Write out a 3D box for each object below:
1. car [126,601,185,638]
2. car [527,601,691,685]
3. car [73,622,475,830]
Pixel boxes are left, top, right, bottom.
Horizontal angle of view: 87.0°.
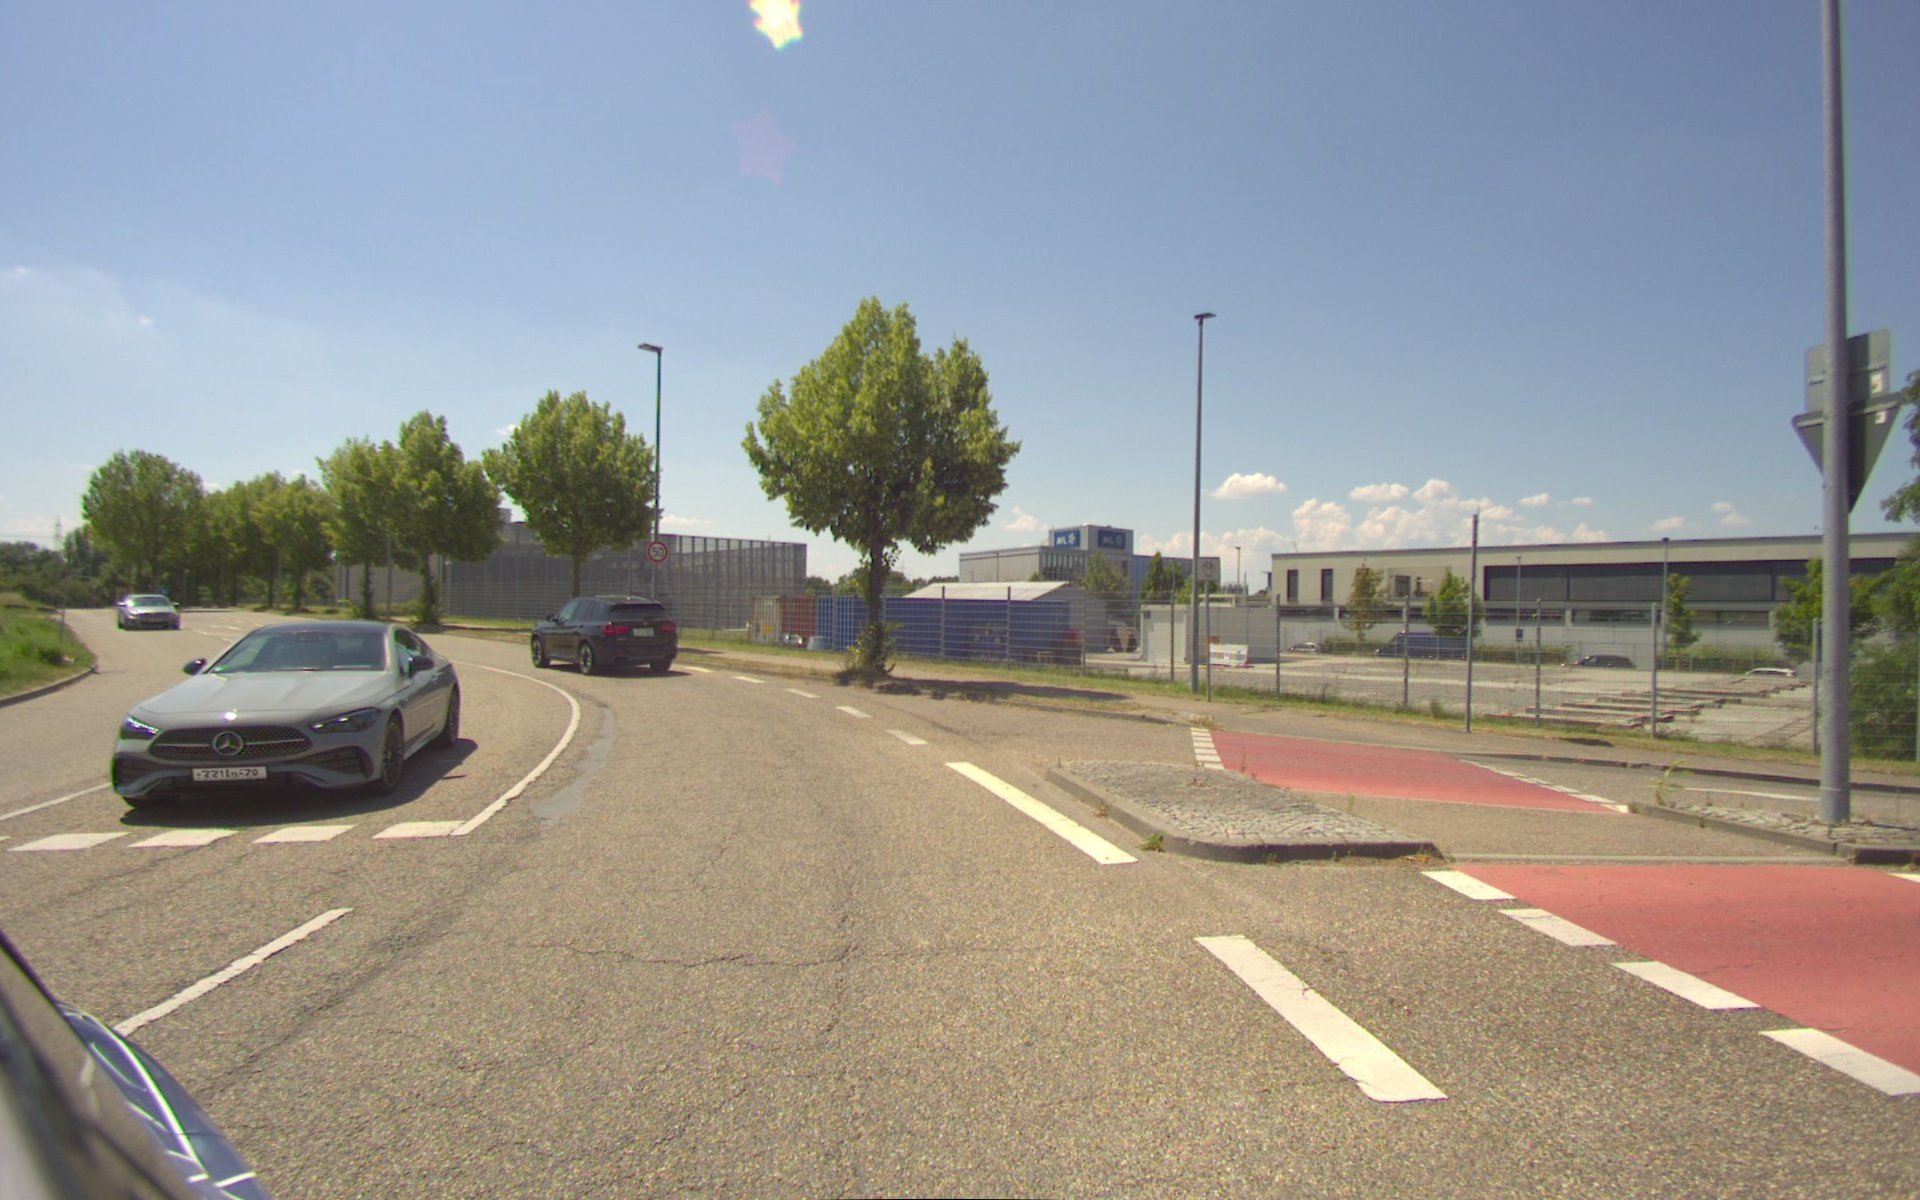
[{"bbox_3d":[-33.742,0.796,42.387,1.648,1.385,4.503,-1,2,-42],"label":"car"},{"bbox_3d":[-7.979,0.874,22.763,1.841,1.647,4.605,1,0,-42],"label":"car"},{"bbox_3d":[-5.968,0.927,9.536,1.866,1.394,4.647,0,-1,-17],"label":"car"}]
